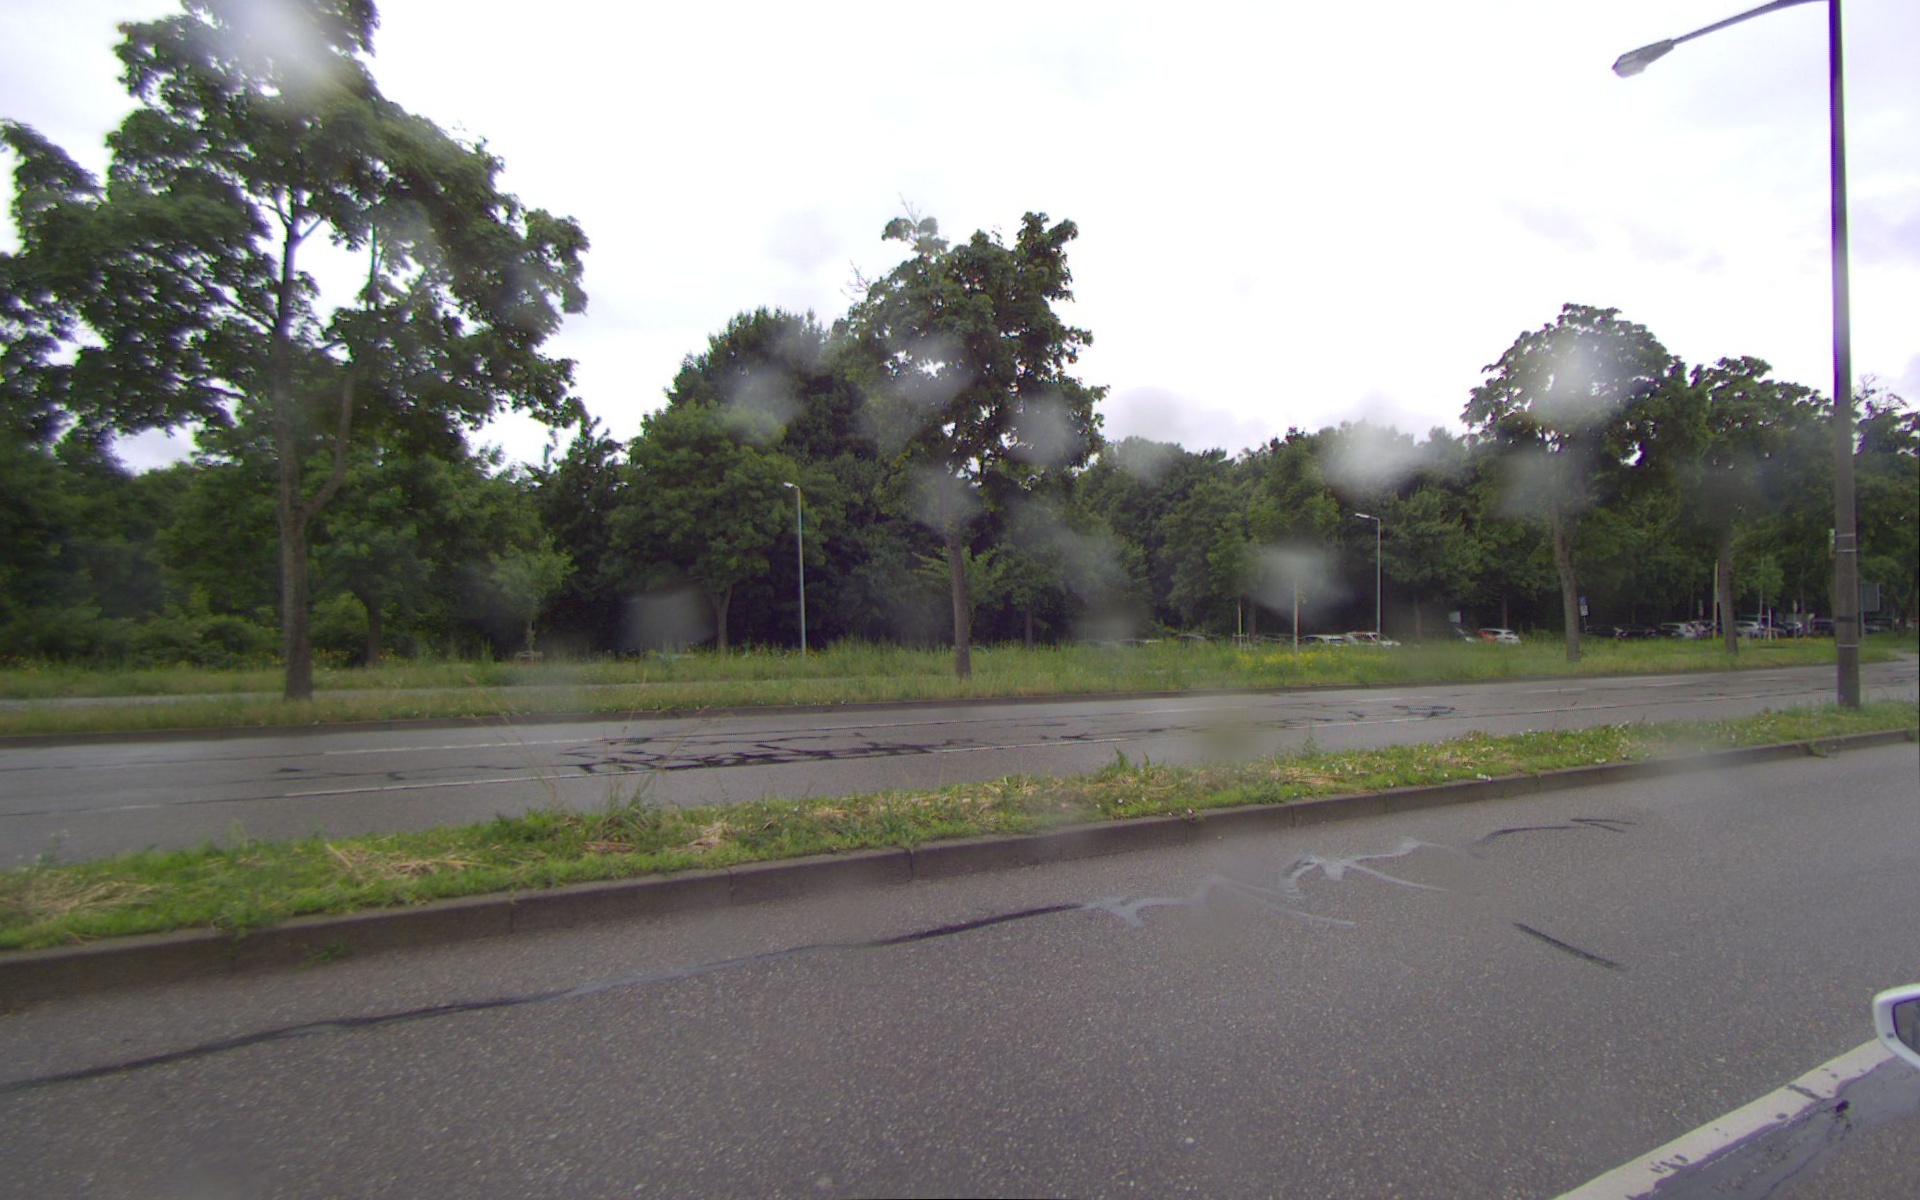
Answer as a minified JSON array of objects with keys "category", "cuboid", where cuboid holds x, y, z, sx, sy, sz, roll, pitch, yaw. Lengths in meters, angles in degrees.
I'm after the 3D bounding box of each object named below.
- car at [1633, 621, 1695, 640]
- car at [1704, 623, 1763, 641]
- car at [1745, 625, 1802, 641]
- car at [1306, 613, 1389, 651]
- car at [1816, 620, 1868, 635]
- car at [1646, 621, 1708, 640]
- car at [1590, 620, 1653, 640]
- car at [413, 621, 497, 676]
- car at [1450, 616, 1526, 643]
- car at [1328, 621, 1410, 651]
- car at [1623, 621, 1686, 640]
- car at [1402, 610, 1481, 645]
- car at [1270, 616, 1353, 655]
[{"category":"car","cuboid":[56.425,2.408,80.512,1.510,1.471,3.810,0,-1,-35]},{"category":"car","cuboid":[67.222,2.746,87.295,1.510,1.471,3.810,0,-1,-35]},{"category":"car","cuboid":[75.303,3.034,93.037,1.510,1.471,3.810,0,-1,-35]},{"category":"car","cuboid":[21.846,1.783,56.694,1.980,2.040,3.961,0,-1,-35]},{"category":"car","cuboid":[87.928,2.767,100.160,3.796,1.471,1.515,-1,-1,45]},{"category":"car","cuboid":[58.568,2.477,82.088,1.510,1.471,3.810,0,-1,-35]},{"category":"car","cuboid":[50.171,2.284,76.253,1.473,1.445,3.709,0,-1,-35]},{"category":"car","cuboid":[-17.081,1.580,33.885,1.980,1.707,3.961,0,-1,-35]},{"category":"car","cuboid":[33.930,1.896,64.617,1.893,1.661,3.961,0,-1,-35]},{"category":"car","cuboid":[23.637,2.030,58.126,1.980,1.639,3.960,1,-1,-35]},{"category":"car","cuboid":[54.542,2.378,78.955,1.510,1.471,3.810,0,-1,-35]},{"category":"car","cuboid":[29.709,1.681,62.037,1.980,2.040,3.961,0,-1,-35]},{"category":"car","cuboid":[19.436,1.923,55.616,1.980,2.040,3.961,0,-1,-35]}]
